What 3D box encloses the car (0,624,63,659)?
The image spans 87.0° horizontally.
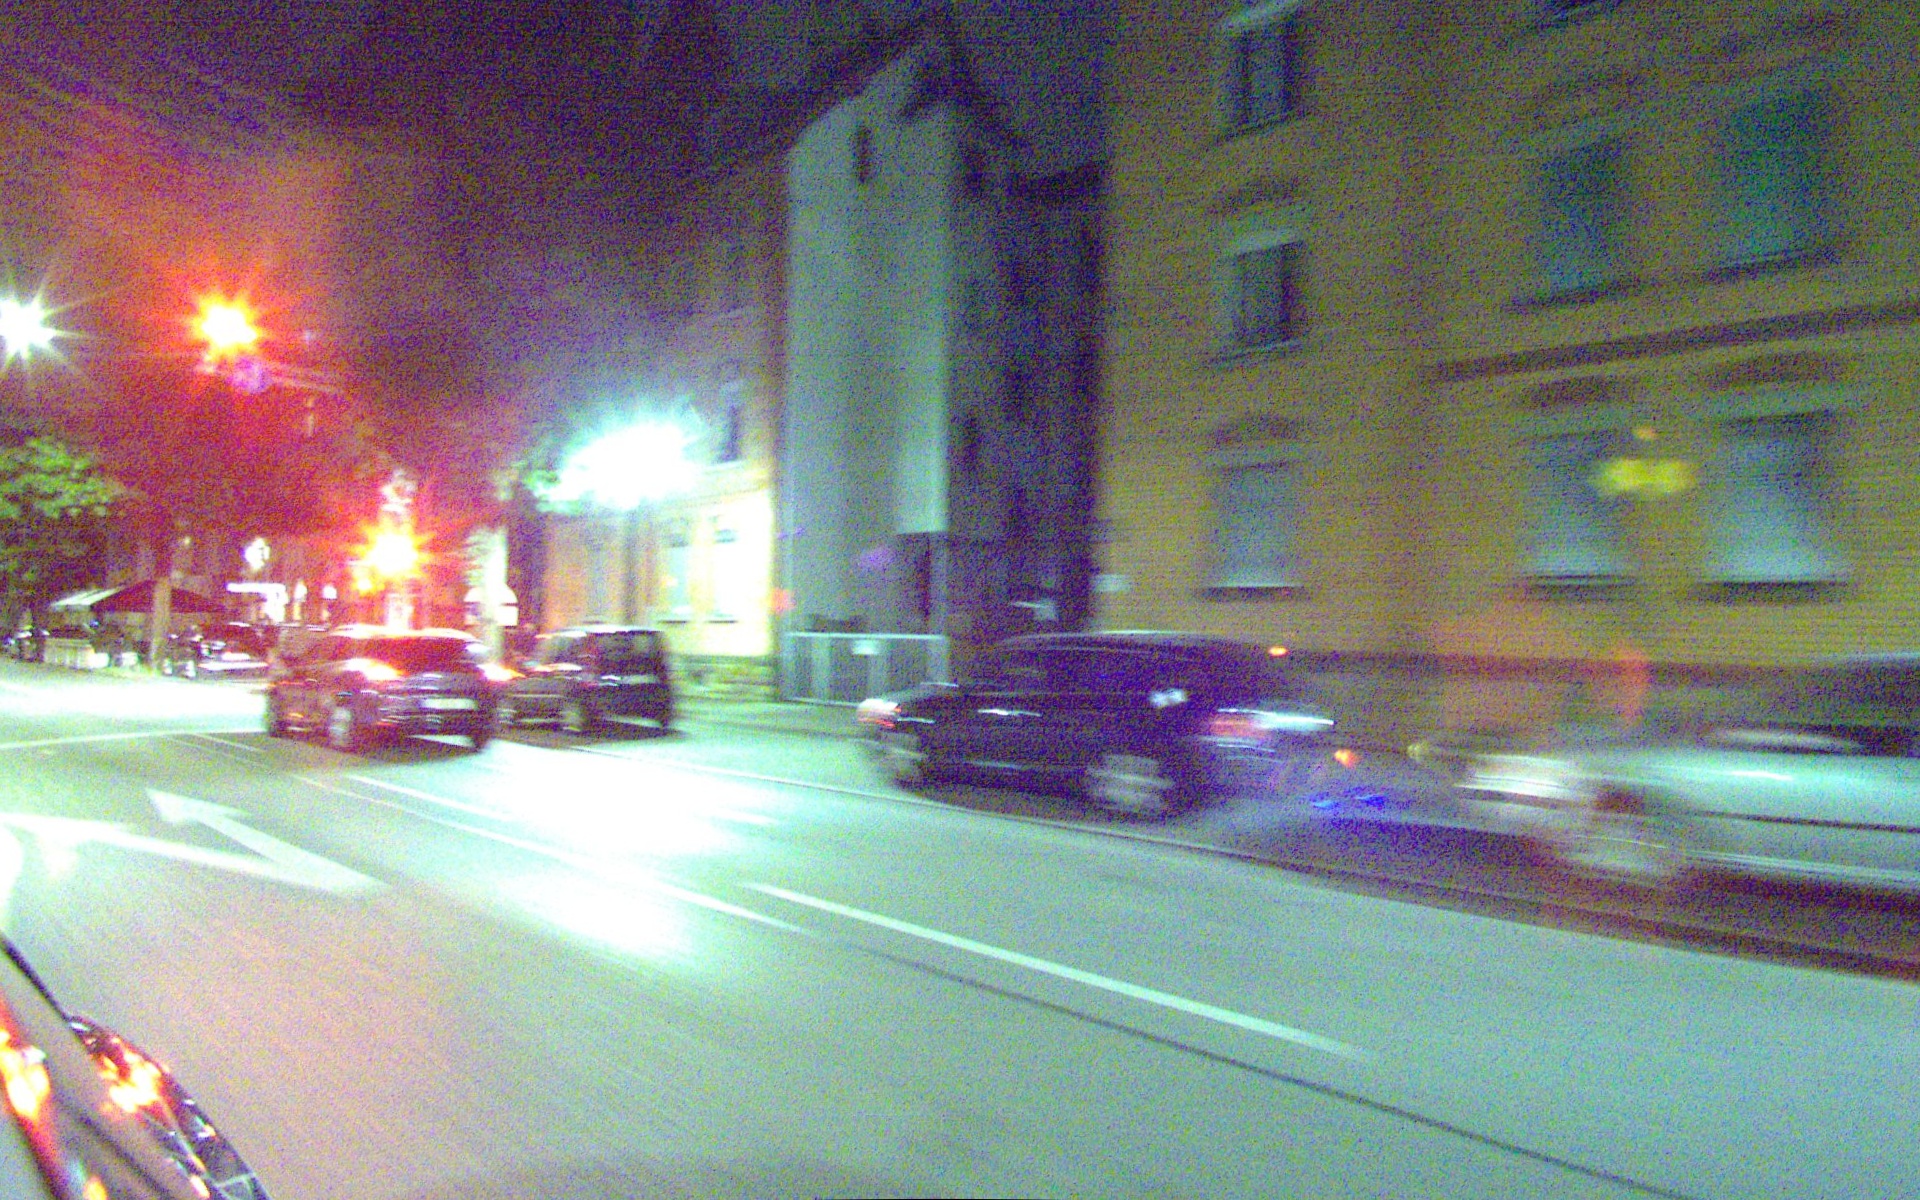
[{"bbox_3d":[-41.709,1.828,45.201,4.470,1.490,1.841,-1,-3,41],"label":"car"}]

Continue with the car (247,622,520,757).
[{"bbox_3d":[-7.349,1.050,12.756,3.998,1.440,1.697,-2,-5,41],"label":"car"}]

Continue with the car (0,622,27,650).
[{"bbox_3d":[-51.581,1.890,54.060,4.397,1.444,1.843,-1,-2,38],"label":"car"}]

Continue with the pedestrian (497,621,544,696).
[{"bbox_3d":[-10.247,1.358,23.615,0.700,1.703,0.999,4,-4,-39],"label":"pedestrian"}]

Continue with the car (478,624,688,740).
[{"bbox_3d":[-5.786,1.144,15.312,3.701,1.502,1.574,-2,-1,45],"label":"car"}]

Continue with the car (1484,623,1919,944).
[{"bbox_3d":[5.244,0.892,5.447,3.998,1.502,1.766,-2,-1,41],"label":"car"}]

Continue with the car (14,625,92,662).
[{"bbox_3d":[-37.754,1.785,42.077,4.440,1.444,1.841,-1,-2,41],"label":"car"}]

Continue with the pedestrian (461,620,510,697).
[{"bbox_3d":[-10.845,1.338,23.124,0.700,1.703,1.126,4,-4,-39],"label":"pedestrian"}]

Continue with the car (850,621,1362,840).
[{"bbox_3d":[1.146,0.975,9.195,4.326,1.502,1.766,-2,-1,40],"label":"car"}]

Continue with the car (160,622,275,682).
[{"bbox_3d":[-21.384,1.428,29.101,4.023,1.608,1.866,-1,-2,42],"label":"car"}]
